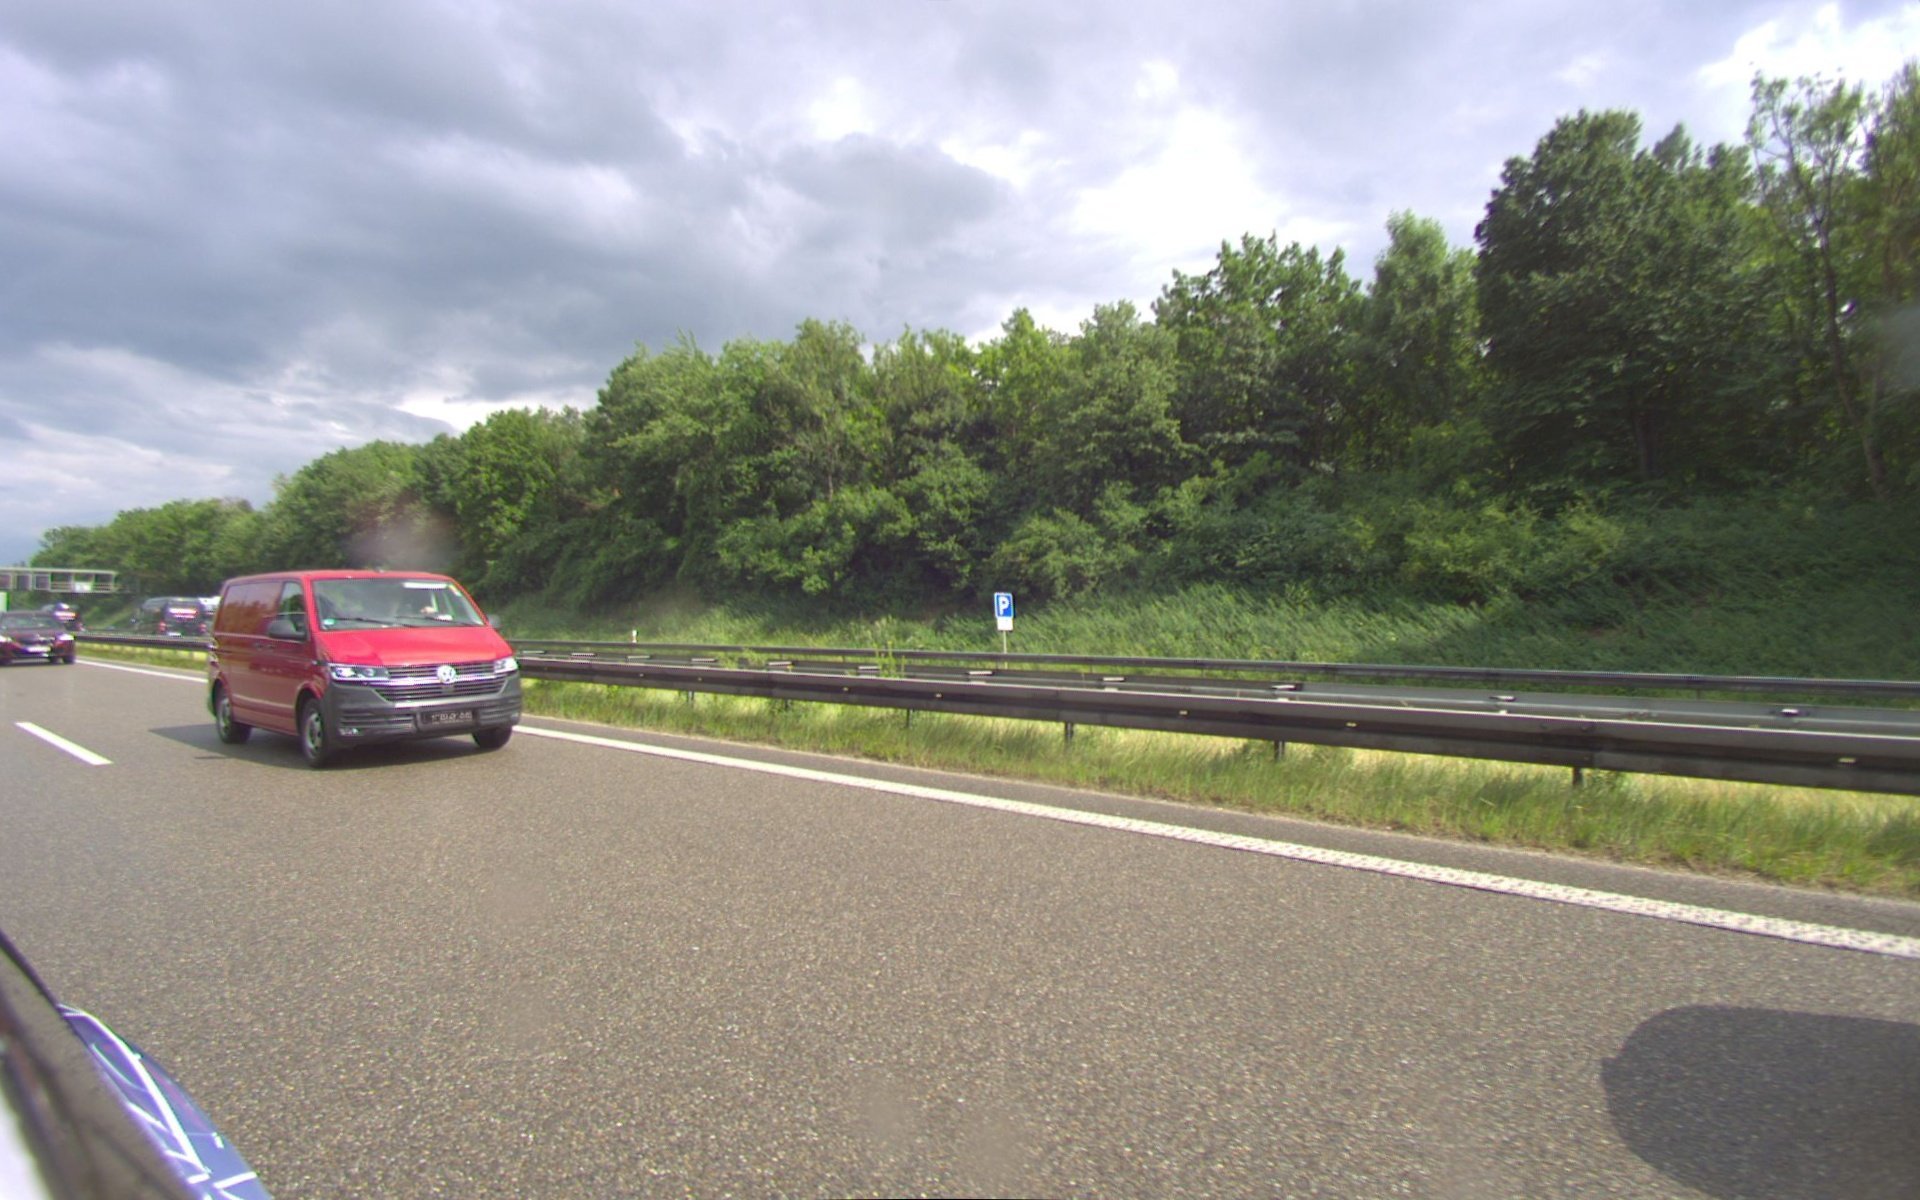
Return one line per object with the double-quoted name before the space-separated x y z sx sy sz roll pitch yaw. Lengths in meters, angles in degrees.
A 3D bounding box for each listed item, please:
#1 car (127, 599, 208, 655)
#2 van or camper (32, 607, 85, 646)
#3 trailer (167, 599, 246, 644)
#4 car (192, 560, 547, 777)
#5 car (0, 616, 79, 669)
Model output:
"car" -43.616 1.457 55.601 6.886 2.892 2.239 -1 0 41
"van or camper" -70.421 2.020 79.022 6.835 2.892 2.239 -1 0 41
"trailer" -71.337 1.992 95.542 17.954 3.860 2.957 -1 0 44
"car" -6.630 0.614 11.103 4.836 1.880 1.902 -1 0 41
"car" -29.082 1.275 31.398 4.836 1.508 1.983 -1 0 41
